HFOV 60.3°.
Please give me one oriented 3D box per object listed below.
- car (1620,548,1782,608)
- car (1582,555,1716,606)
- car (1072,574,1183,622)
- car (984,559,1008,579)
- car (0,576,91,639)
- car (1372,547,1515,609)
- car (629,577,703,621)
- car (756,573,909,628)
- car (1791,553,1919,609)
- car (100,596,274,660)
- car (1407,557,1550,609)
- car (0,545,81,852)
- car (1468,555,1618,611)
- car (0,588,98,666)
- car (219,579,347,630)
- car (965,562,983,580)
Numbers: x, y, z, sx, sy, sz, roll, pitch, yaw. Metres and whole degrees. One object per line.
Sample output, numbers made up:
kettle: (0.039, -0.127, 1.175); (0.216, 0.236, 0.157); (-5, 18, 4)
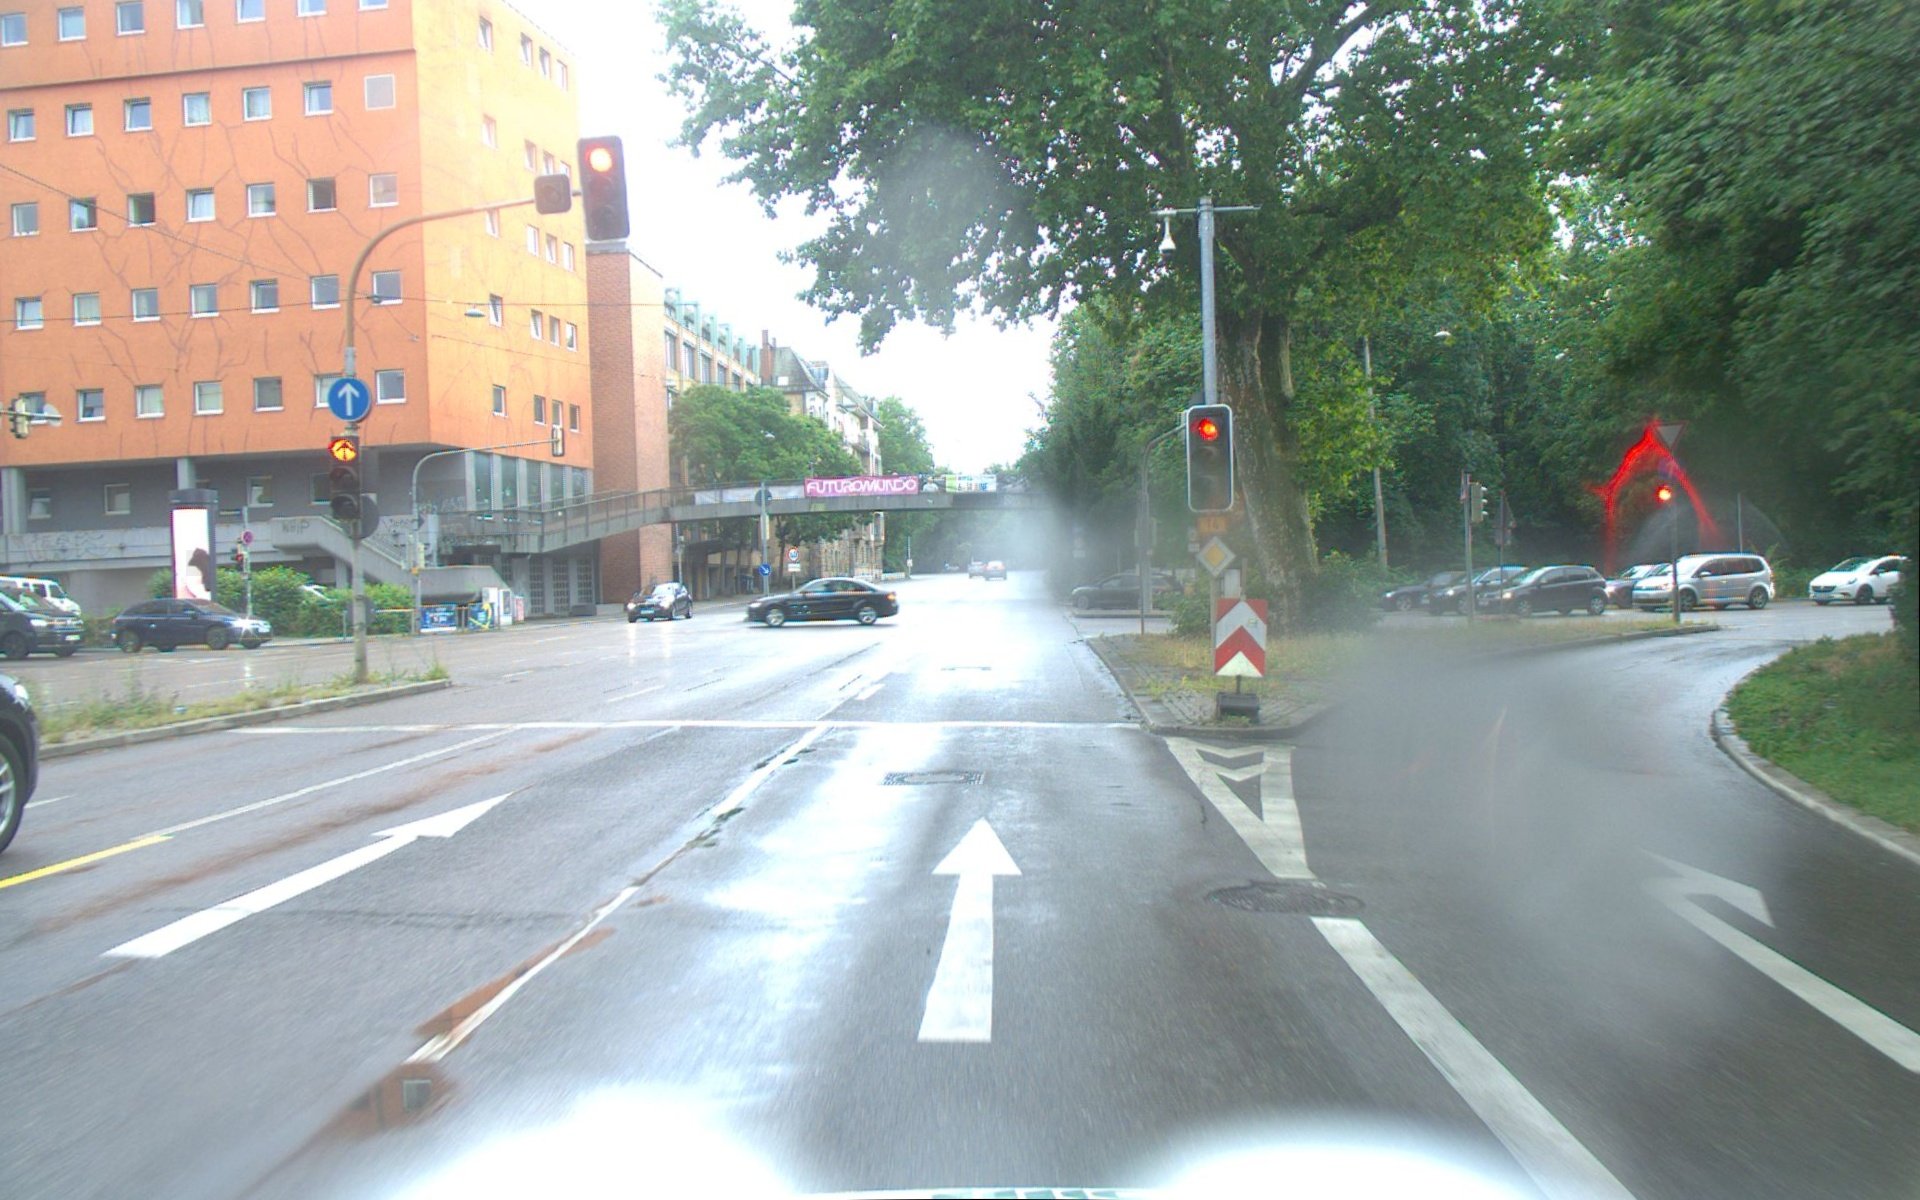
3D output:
car: (22.226, -0.651, 49.641); (4.188, 1.512, 1.768); (-4, 1, -14)
car: (21.980, -0.623, 52.803); (3.765, 1.512, 1.736); (-2, 1, -19)
car: (6.175, -0.107, 61.461); (1.855, 1.666, 4.479); (-1, 1, -30)
car: (3.292, -2.889, 153.796); (2.077, 1.765, 4.198); (0, 2, -1)
car: (-32.410, 0.220, 56.803); (1.951, 2.048, 4.856); (2, 1, 9)
car: (16.877, -0.773, 57.825); (4.260, 1.867, 2.131); (-4, 1, -10)
car: (-11.163, -0.063, 63.046); (1.952, 1.545, 4.001); (-2, 1, 2)
car: (-3.868, 0.013, 50.138); (4.515, 1.476, 1.772); (-2, 0, -6)
car: (28.318, -0.609, 51.835); (3.927, 1.512, 1.765); (-4, 1, -19)
car: (-20.991, 0.755, 44.961); (4.047, 1.471, 1.587); (-3, 0, 10)
car: (16.151, -0.538, 51.579); (3.926, 1.512, 1.869); (-1, 0, -19)
car: (-6.082, 0.573, 7.175); (1.907, 1.625, 4.672); (0, 2, 2)
car: (16.778, -0.499, 47.673); (3.788, 1.511, 1.667); (-1, 0, -14)
car: (-25.278, 0.789, 42.807); (4.968, 1.878, 2.002); (-4, 0, 10)
car: (-25.041, 0.155, 61.223); (3.929, 1.646, 1.896); (-3, 0, 11)
car: (1.495, -3.041, 174.339); (1.727, 1.726, 3.706); (-3, 1, 1)
